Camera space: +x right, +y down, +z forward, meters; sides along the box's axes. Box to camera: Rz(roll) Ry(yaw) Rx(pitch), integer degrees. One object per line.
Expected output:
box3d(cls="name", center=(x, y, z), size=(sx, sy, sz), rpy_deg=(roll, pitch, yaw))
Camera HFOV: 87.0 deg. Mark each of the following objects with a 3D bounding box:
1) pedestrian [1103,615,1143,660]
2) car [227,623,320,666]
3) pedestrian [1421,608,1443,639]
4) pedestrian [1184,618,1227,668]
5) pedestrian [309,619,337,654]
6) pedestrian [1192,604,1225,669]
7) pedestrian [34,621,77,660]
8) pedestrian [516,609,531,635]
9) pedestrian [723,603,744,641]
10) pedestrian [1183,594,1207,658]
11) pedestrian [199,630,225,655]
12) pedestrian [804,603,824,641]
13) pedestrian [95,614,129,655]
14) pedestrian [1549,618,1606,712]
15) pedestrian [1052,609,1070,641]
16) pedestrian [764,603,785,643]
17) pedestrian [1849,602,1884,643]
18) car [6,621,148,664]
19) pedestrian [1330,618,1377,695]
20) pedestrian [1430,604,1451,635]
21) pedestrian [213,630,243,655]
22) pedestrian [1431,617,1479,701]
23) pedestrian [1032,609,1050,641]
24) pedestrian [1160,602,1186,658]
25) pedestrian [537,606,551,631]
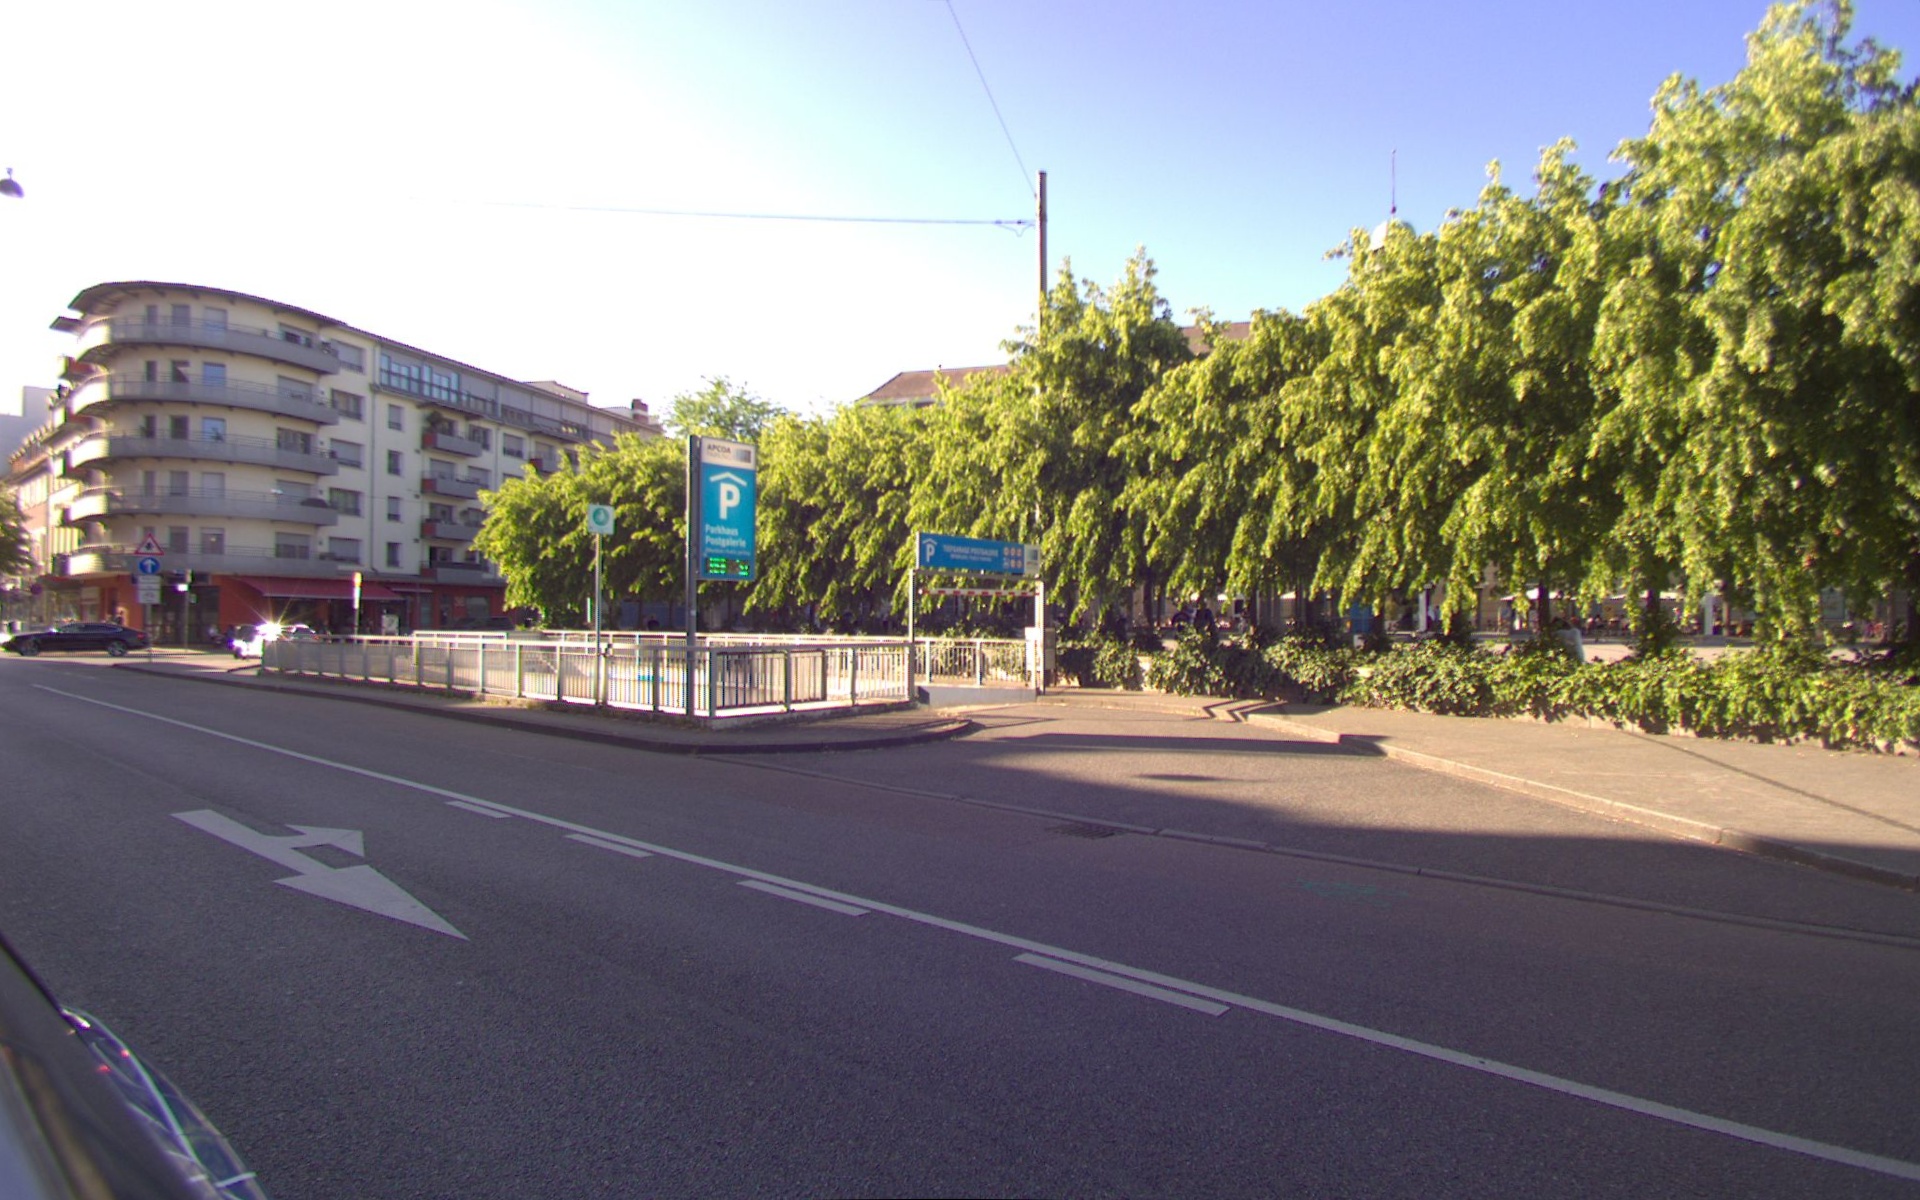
box3d(cls="pedestrian", center=(4.052, 0.929, 25.134), size=(0.682, 1.079, 0.686), rpy_deg=(-1, 0, -29))
box3d(cls="car", center=(-26.867, 1.700, 39.591), size=(3.895, 1.542, 1.621), rpy_deg=(-1, 0, 33))
box3d(cls="pedestrian", center=(23.904, 1.176, 51.229), size=(0.672, 1.536, 0.696), rpy_deg=(-1, 0, -19))
box3d(cls="pedestrian", center=(5.439, 0.946, 22.442), size=(0.682, 1.079, 0.686), rpy_deg=(-1, 0, -13))
box3d(cls="pedestrian", center=(-32.607, 1.854, 51.853), size=(0.946, 1.762, 1.064), rpy_deg=(-1, 0, -16))
box3d(cls="pedestrian", center=(5.866, 0.852, 23.876), size=(0.688, 1.511, 0.680), rpy_deg=(-1, 0, 19))
box3d(cls="pedestrian", center=(-41.136, 1.822, 46.035), size=(1.052, 1.732, 1.083), rpy_deg=(-1, 0, -11))
box3d(cls="pedestrian", center=(-31.268, 1.584, 72.521), size=(0.738, 1.857, 0.683), rpy_deg=(-1, 0, 6))
box3d(cls="pedestrian", center=(-11.272, 1.074, 50.353), size=(0.679, 1.857, 0.743), rpy_deg=(-1, 0, 19))
box3d(cls="pedestrian", center=(5.949, 0.649, 25.601), size=(0.522, 1.594, 0.680), rpy_deg=(-1, 0, 19))
box3d(cls="pedestrian", center=(-37.637, 2.141, 50.945), size=(0.882, 1.207, 0.772), rpy_deg=(-1, 0, 30))
box3d(cls="pedestrian", center=(-7.206, 1.088, 49.891), size=(0.681, 1.857, 0.741), rpy_deg=(-1, 0, 27))
box3d(cls="pedestrian", center=(-40.988, 1.673, 48.931), size=(0.782, 1.934, 0.987), rpy_deg=(-1, 0, 9))
box3d(cls="pedestrian", center=(9.808, 1.013, 16.094), size=(0.611, 1.447, 0.588), rpy_deg=(-1, 0, 14))
box3d(cls="pedestrian", center=(4.474, 1.106, 44.821), size=(0.684, 1.385, 0.684), rpy_deg=(-1, 0, 1))
box3d(cls="pedestrian", center=(-8.980, 1.102, 48.924), size=(0.681, 1.877, 0.741), rpy_deg=(-1, 0, 27))
box3d(cls="pedestrian", center=(35.316, 0.866, 39.443), size=(0.682, 1.542, 0.742), rpy_deg=(-1, 0, -9))
box3d(cls="car", center=(-35.874, 1.696, 41.269), size=(4.180, 1.542, 1.681), rpy_deg=(-1, 0, -36))
box3d(cls="pedestrian", center=(7.525, 1.061, 19.349), size=(0.622, 1.409, 0.644), rpy_deg=(-1, 0, 44))
box3d(cls="pedestrian", center=(24.593, 0.996, 51.779), size=(0.672, 1.542, 0.696), rpy_deg=(-1, 0, -18))
box3d(cls="pedestrian", center=(-36.817, 2.130, 50.901), size=(0.827, 1.207, 0.931), rpy_deg=(-1, 0, 16))
box3d(cls="pedestrian", center=(8.752, 1.026, 17.902), size=(0.621, 1.447, 0.645), rpy_deg=(-1, 0, 39))
box3d(cls="pedestrian", center=(3.579, 1.118, 44.858), size=(0.752, 1.385, 0.684), rpy_deg=(-1, 0, 1))
box3d(cls="pedestrian", center=(5.431, 0.754, 25.785), size=(0.545, 1.385, 0.680), rpy_deg=(-1, 0, 19))
box3d(cls="pedestrian", center=(-31.236, 1.401, 75.994), size=(0.684, 1.857, 0.737), rpy_deg=(-1, 0, 41))
